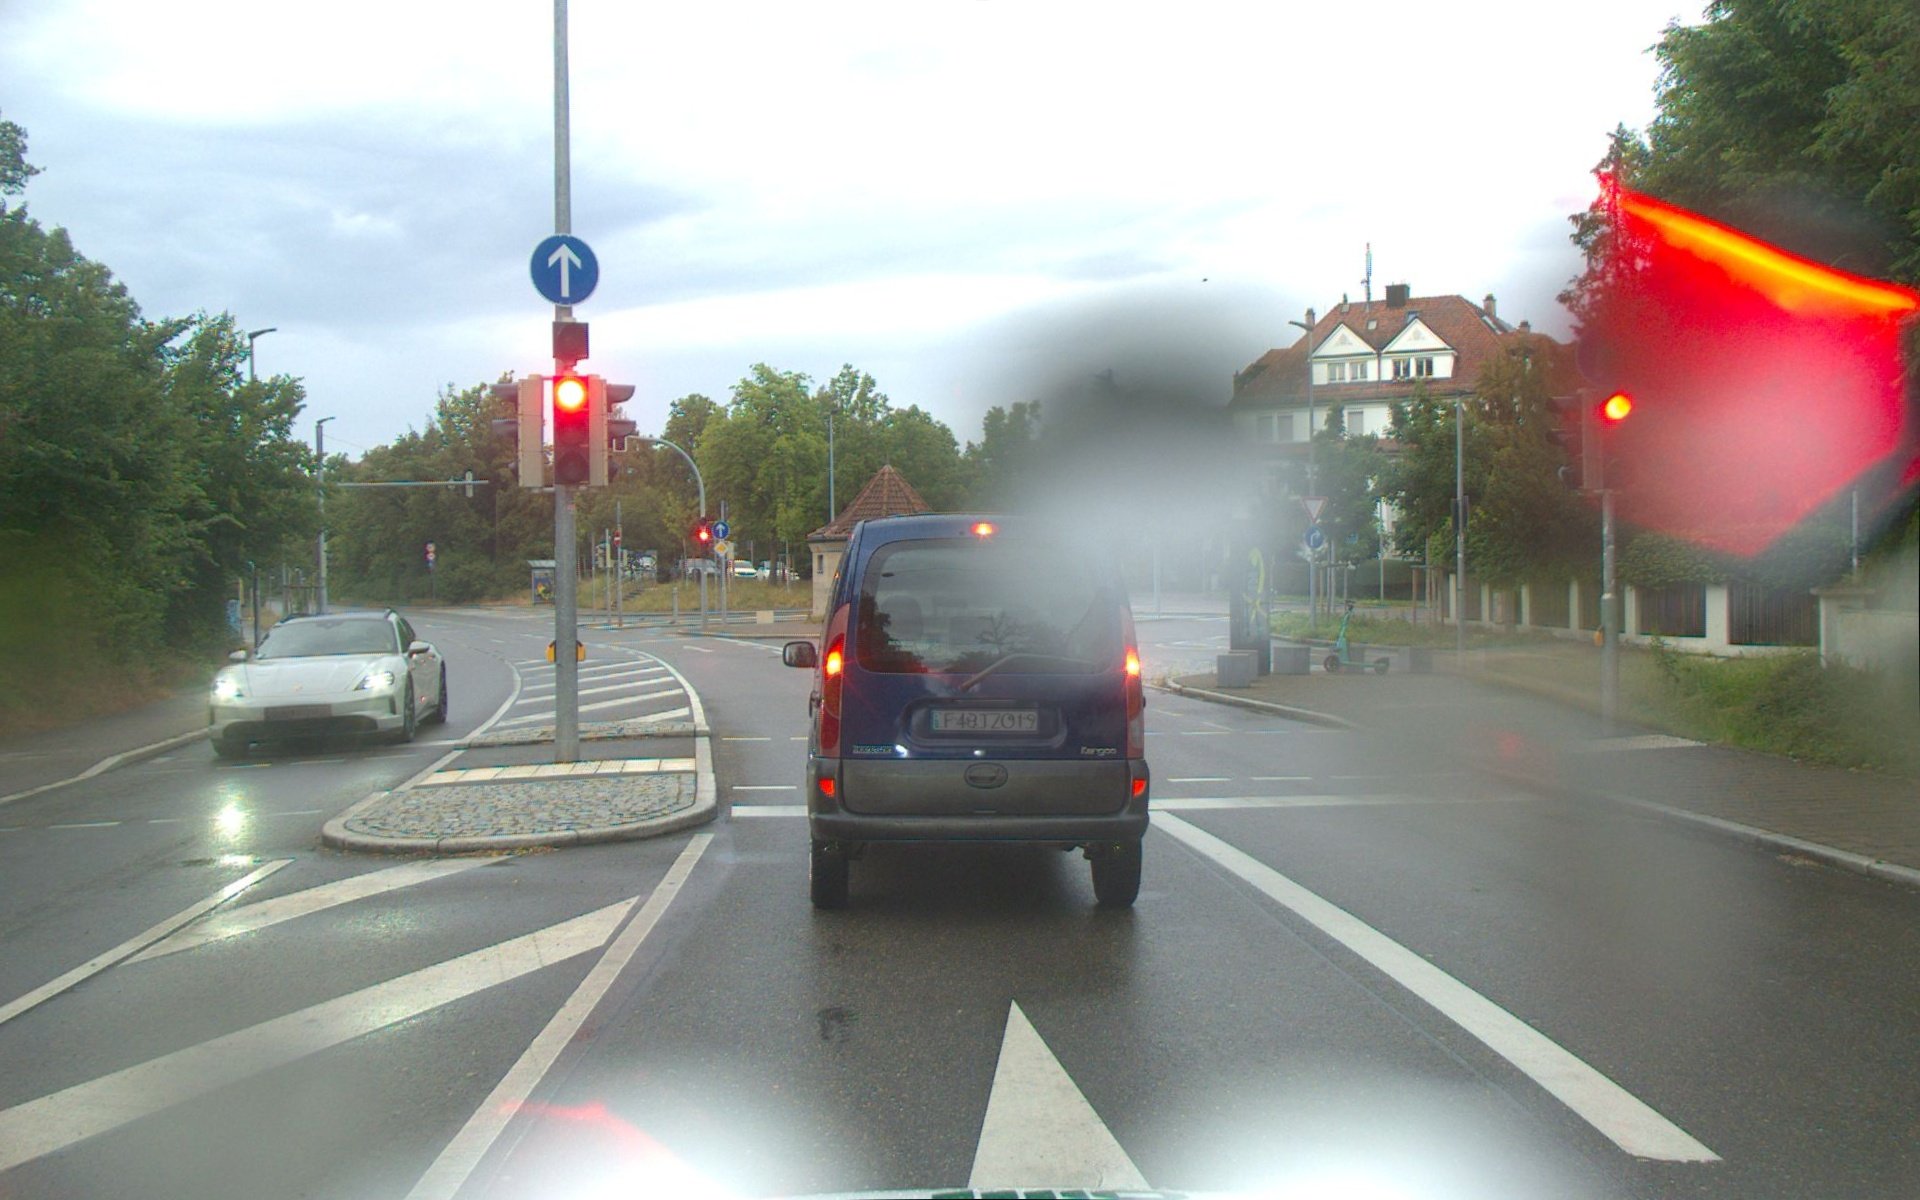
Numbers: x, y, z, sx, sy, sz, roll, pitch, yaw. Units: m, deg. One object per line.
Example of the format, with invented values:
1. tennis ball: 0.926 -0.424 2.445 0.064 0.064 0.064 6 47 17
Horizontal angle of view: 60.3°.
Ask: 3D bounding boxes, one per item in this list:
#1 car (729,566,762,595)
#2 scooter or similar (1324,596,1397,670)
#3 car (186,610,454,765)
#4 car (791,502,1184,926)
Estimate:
1. car: -14.286 -1.292 110.003 1.957 1.844 3.990 0 -1 -10
2. scooter or similar: 6.807 0.566 28.145 1.125 1.240 0.405 -1 -1 -2
3. car: -6.949 0.865 18.459 1.958 1.334 4.348 -3 1 -11
4. car: 0.032 0.470 9.133 1.697 1.817 3.998 0 0 -3
